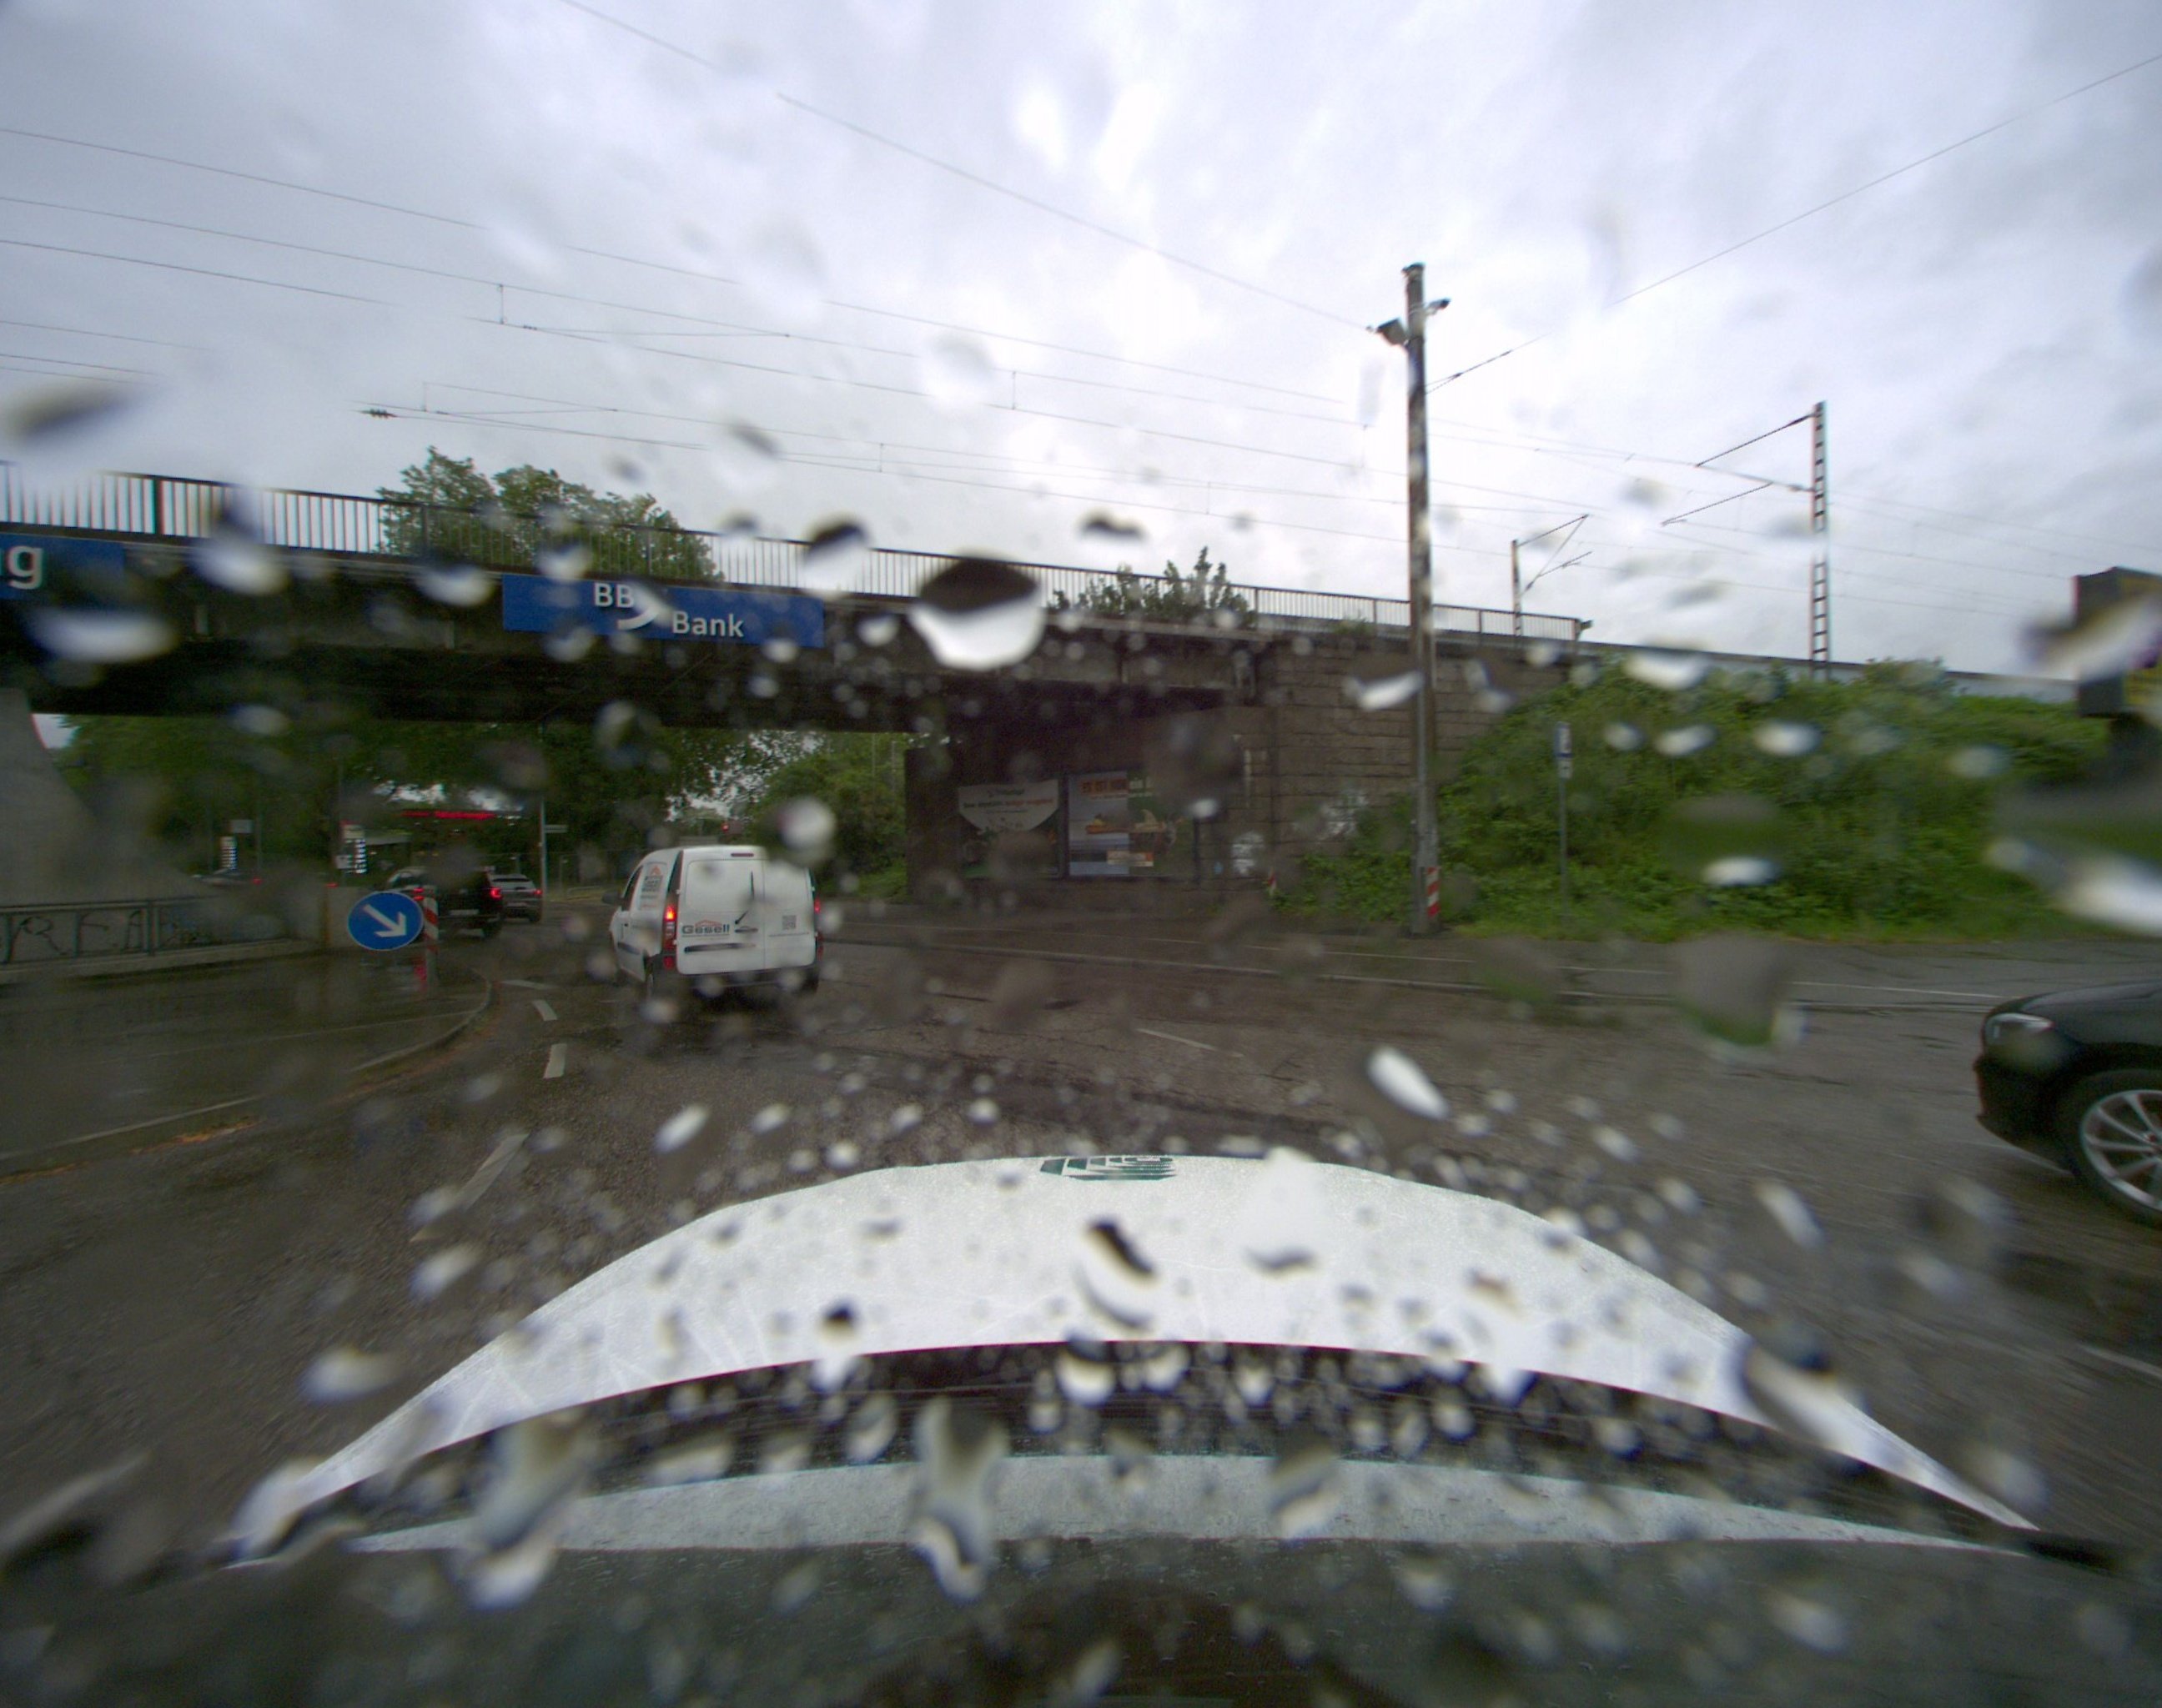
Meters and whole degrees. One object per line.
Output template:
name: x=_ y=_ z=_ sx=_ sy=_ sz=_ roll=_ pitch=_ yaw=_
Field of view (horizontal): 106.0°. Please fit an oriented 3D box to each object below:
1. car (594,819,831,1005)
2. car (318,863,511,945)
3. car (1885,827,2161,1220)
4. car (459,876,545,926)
car: x=-4.690 y=0.613 z=10.031 sx=1.770 sy=1.777 sz=3.955 roll=-3 pitch=0 yaw=-37
car: x=-14.972 y=1.076 z=18.288 sx=3.949 sy=1.609 sz=1.936 roll=-2 pitch=0 yaw=28
car: x=5.181 y=0.607 z=2.170 sx=1.867 sy=1.524 sz=4.081 roll=-2 pitch=-1 yaw=-4
car: x=-17.369 y=1.348 z=24.371 sx=1.696 sy=1.283 sz=3.218 roll=-2 pitch=1 yaw=-42
